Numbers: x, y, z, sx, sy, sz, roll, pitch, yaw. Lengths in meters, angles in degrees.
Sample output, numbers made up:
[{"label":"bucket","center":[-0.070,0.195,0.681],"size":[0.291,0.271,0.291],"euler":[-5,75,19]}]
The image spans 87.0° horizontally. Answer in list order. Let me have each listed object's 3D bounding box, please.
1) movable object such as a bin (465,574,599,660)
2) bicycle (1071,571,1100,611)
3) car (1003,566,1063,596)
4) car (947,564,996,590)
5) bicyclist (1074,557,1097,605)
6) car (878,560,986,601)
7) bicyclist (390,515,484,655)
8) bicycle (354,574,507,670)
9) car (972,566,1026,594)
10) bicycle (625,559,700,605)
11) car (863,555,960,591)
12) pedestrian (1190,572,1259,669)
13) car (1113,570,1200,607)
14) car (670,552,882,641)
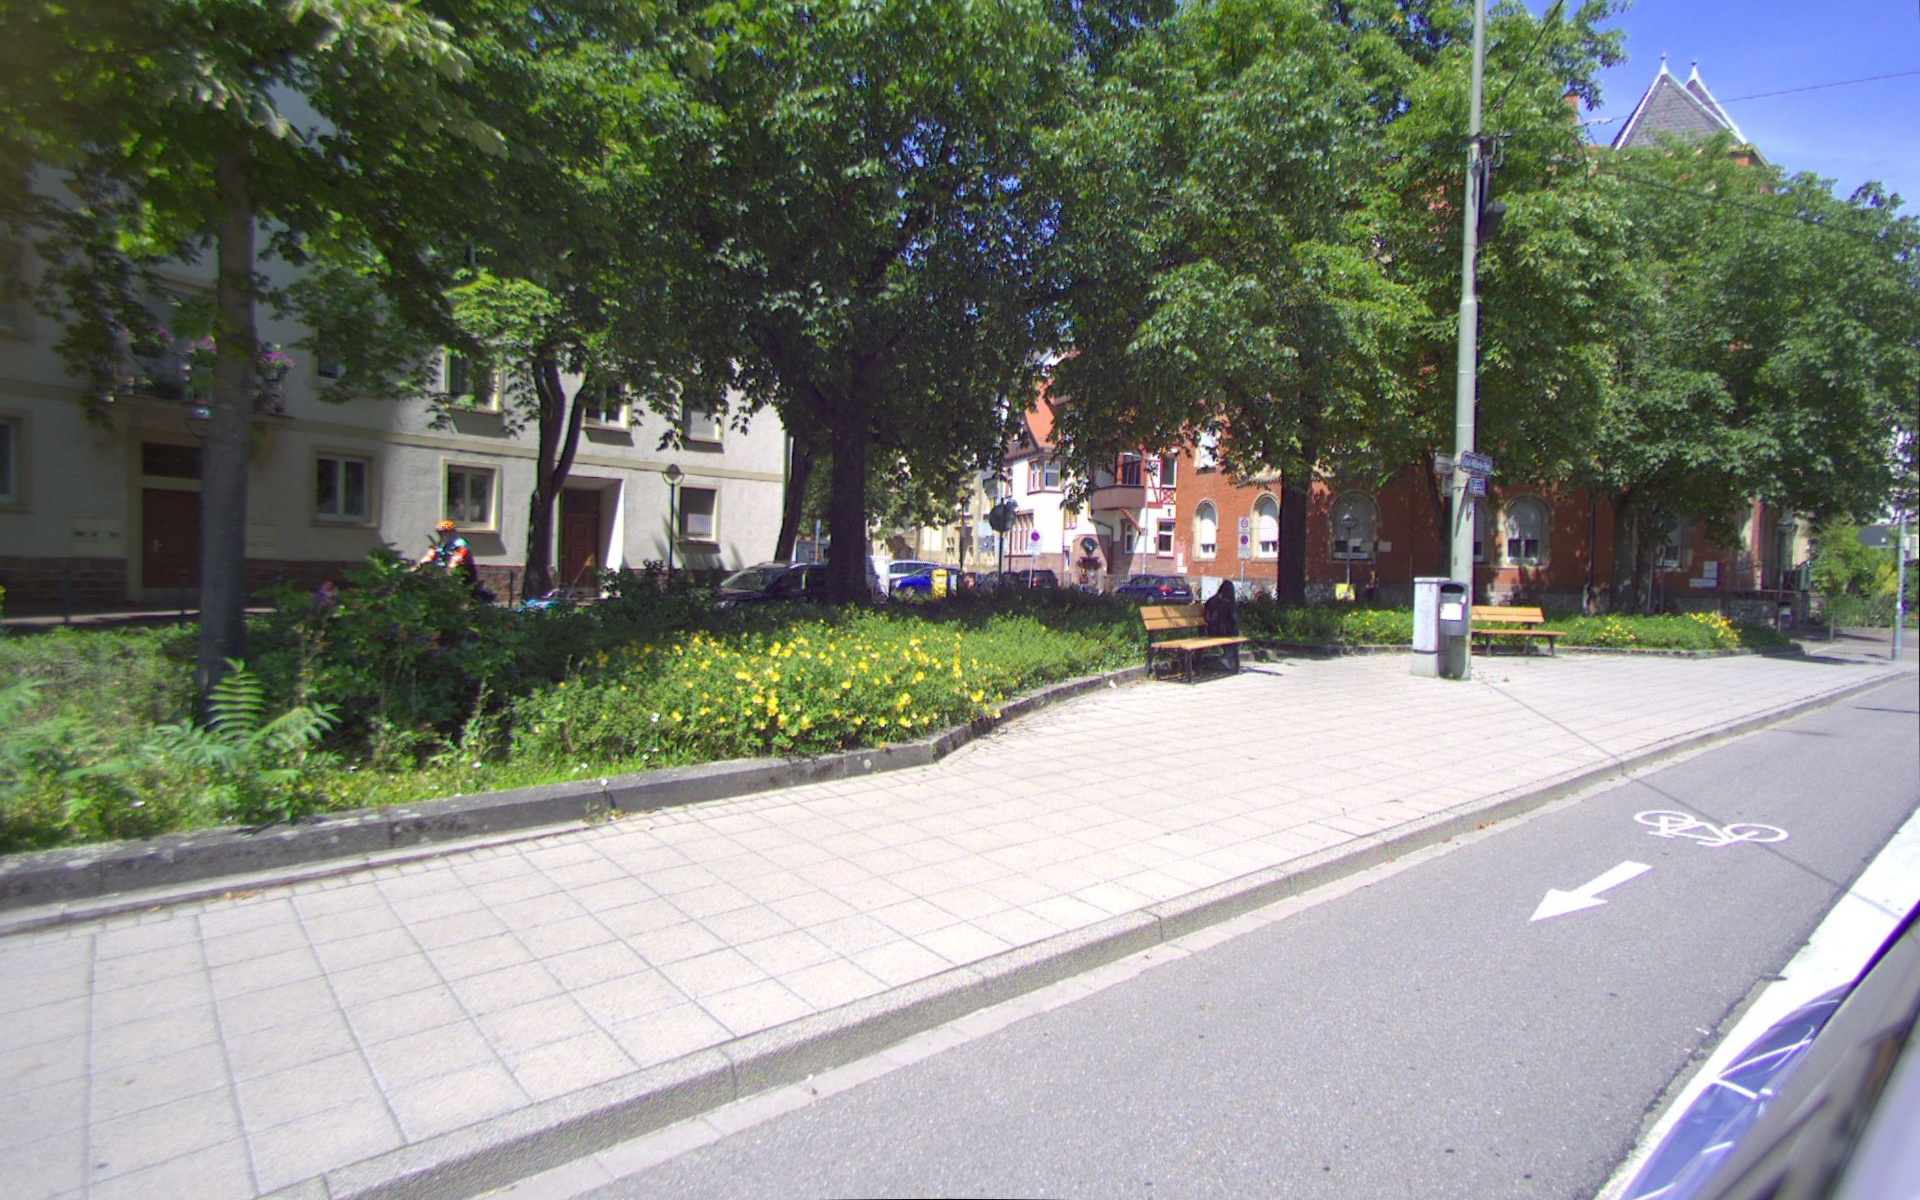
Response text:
[{"label":"movable object such as a bin","center":[-6.309,0.212,15.030],"size":[0.858,1.169,1.752],"euler":[2,2,21]},{"label":"bicycle","center":[4.359,-0.331,35.299],"size":[0.628,1.309,1.933],"euler":[1,2,-3]},{"label":"car","center":[4.019,-1.102,56.598],"size":[1.668,1.582,4.255],"euler":[1,2,-21]},{"label":"car","center":[0.725,-1.543,66.449],"size":[1.668,1.582,4.255],"euler":[1,2,-21]},{"label":"bicyclist","center":[4.376,-0.660,35.299],"size":[0.628,1.643,0.864],"euler":[1,1,-3]},{"label":"car","center":[-1.177,-0.818,42.471],"size":[4.228,1.582,1.649],"euler":[1,2,-20]},{"label":"bicyclist","center":[-6.926,-0.206,13.434],"size":[0.690,1.788,0.858],"euler":[2,1,22]},{"label":"bicycle","center":[-6.947,0.250,13.376],"size":[0.673,1.169,1.791],"euler":[2,2,21]},{"label":"car","center":[2.302,-1.231,61.427],"size":[1.668,1.582,4.255],"euler":[1,2,-21]},{"label":"bicycle","center":[-7.830,-0.467,26.720],"size":[0.513,1.169,1.905],"euler":[2,2,41]},{"label":"car","center":[-2.281,-1.272,47.562],"size":[4.228,1.582,1.649],"euler":[1,2,-20]},{"label":"pedestrian","center":[3.319,0.236,12.707],"size":[0.648,1.164,0.635],"euler":[2,1,34]},{"label":"car","center":[8.387,-0.523,43.604],"size":[1.610,1.470,4.329],"euler":[1,2,-21]},{"label":"car","center":[-3.550,-0.107,20.060],"size":[1.608,1.582,4.006],"euler":[3,2,41]}]
